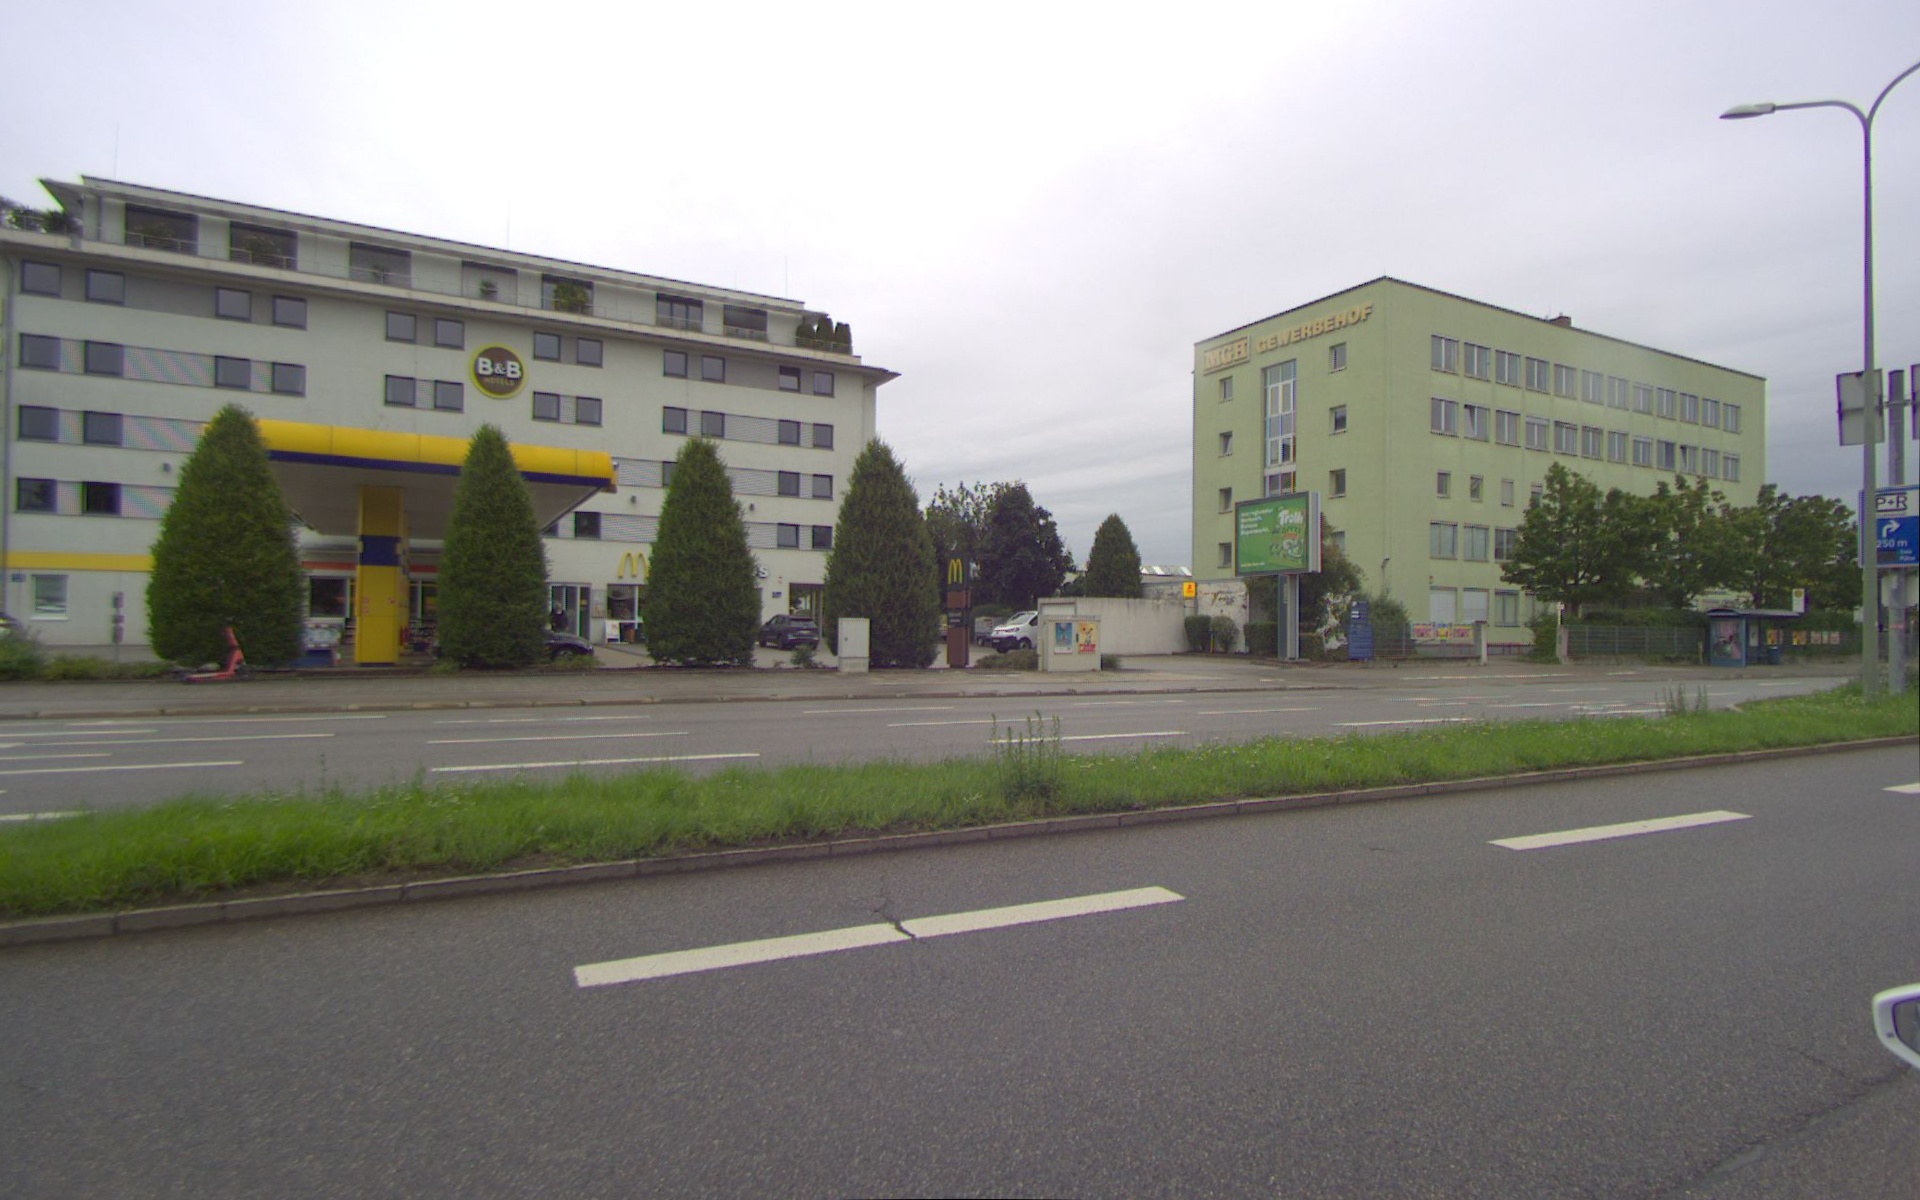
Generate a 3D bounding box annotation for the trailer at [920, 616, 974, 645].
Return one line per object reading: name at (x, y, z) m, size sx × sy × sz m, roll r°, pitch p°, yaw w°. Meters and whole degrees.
trailer at (-0.819, 1.819, 59.596) m, size 1.616 × 1.671 × 3.781 m, roll 1°, pitch -3°, yaw -29°

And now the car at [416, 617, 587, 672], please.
car at (-12.125, 1.177, 26.615) m, size 3.953 × 1.349 × 1.786 m, roll 2°, pitch -3°, yaw -30°

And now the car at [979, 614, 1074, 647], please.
car at (3.018, 1.394, 45.231) m, size 3.951 × 1.457 × 1.817 m, roll 1°, pitch -3°, yaw -29°

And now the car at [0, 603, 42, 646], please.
car at (-34.730, 0.845, 34.658) m, size 4.142 × 1.497 × 1.895 m, roll 1°, pitch -3°, yaw -29°

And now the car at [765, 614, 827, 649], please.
car at (-7.928, 1.487, 48.365) m, size 1.686 × 1.608 × 3.969 m, roll 1°, pitch -2°, yaw -30°

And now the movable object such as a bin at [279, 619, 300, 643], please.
movable object such as a bin at (-28.531, 1.321, 42.737) m, size 0.679 × 0.976 × 0.632 m, roll 1°, pitch -3°, yaw -29°

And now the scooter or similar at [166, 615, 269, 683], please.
scooter or similar at (-14.095, 0.929, 19.097) m, size 1.524 × 1.259 × 0.355 m, roll 1°, pitch 1°, yaw -24°

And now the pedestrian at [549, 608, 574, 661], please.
pedestrian at (-13.255, 1.146, 33.445) m, size 0.636 × 1.751 × 0.703 m, roll 1°, pitch -3°, yaw -32°
